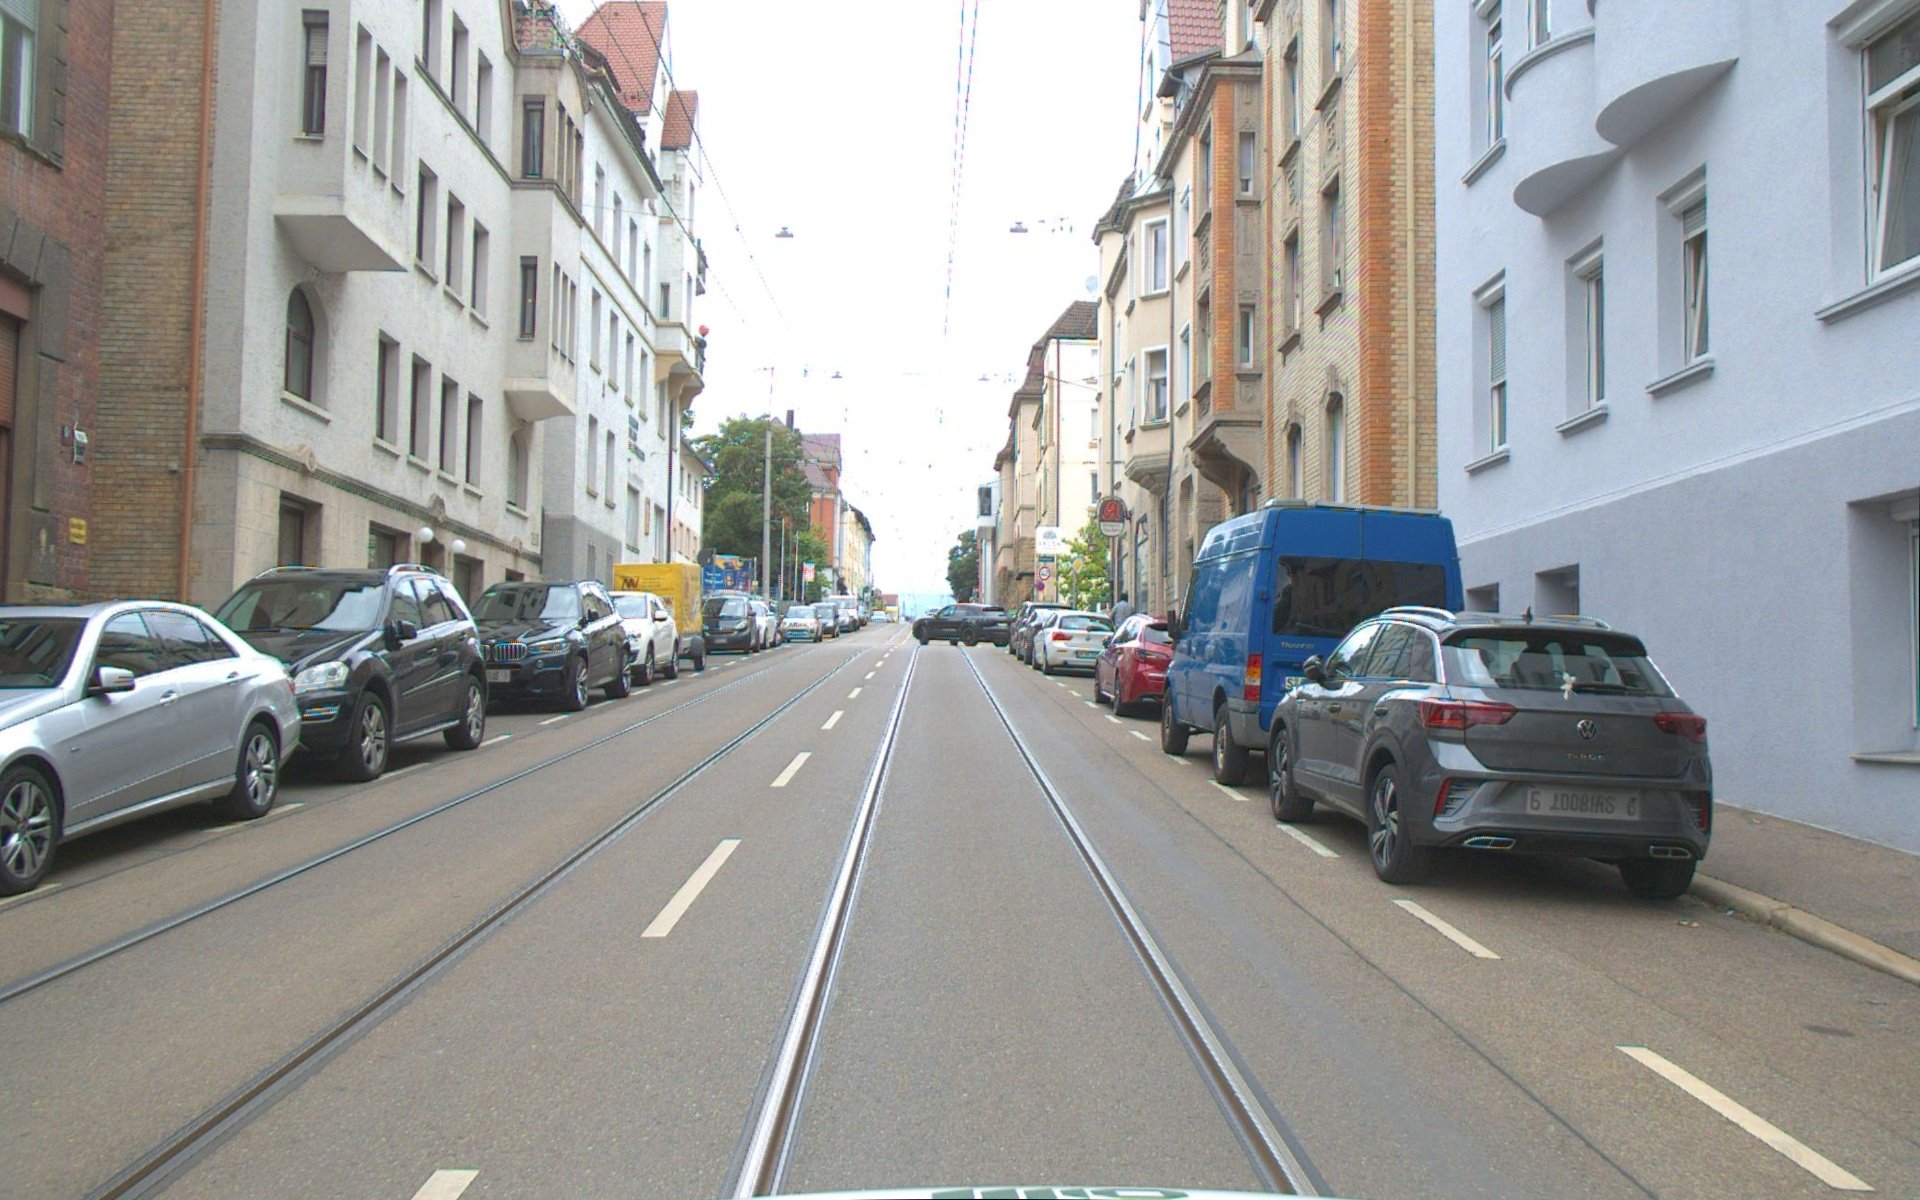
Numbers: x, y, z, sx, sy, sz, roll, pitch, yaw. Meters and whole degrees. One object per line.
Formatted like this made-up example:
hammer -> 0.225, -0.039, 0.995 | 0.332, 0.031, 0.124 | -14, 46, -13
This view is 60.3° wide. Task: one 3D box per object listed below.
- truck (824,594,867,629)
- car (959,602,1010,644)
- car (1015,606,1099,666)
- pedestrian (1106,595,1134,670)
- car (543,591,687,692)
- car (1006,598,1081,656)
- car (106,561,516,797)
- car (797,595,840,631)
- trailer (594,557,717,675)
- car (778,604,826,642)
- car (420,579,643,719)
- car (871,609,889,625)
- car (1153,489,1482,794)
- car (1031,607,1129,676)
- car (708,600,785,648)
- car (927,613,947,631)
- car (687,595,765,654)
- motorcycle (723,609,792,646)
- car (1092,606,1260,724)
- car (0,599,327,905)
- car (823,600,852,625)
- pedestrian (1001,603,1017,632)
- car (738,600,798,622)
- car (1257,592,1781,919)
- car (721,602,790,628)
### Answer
truck -> -7.551, 0.758, 109.469 | 2.233, 2.226, 8.024 | 1, 0, 0
car -> 0.953, 0.888, 66.342 | 1.953, 1.590, 4.289 | 1, 0, -1
car -> 2.522, 0.922, 44.176 | 1.744, 1.415, 4.690 | 3, 0, -2
pedestrian -> 3.934, 0.796, 40.736 | 0.587, 1.834, 0.631 | 1, -1, -1
car -> -6.037, 0.672, 29.403 | 1.662, 1.621, 4.268 | -1, 0, -1
car -> 2.439, 0.776, 49.343 | 1.700, 1.564, 4.571 | 3, 0, -3
car -> -5.605, 0.589, 15.054 | 1.790, 1.748, 4.912 | -1, 0, -1
car -> -7.169, 0.656, 83.980 | 1.708, 1.766, 4.519 | -1, 0, 0
trailer -> -6.103, 0.298, 33.580 | 1.713, 2.193, 4.070 | -1, 0, -1
car -> -6.944, 0.988, 72.983 | 1.662, 1.583, 3.850 | 1, 0, 0
car -> -5.804, 0.596, 23.048 | 1.835, 1.693, 4.891 | -1, 0, -1
car -> -8.548, 1.825, 177.332 | 1.817, 1.635, 4.296 | 1, 0, -1
car -> 3.180, 0.364, 15.854 | 1.953, 2.418, 5.054 | 1, -1, -1
car -> 2.675, 0.903, 37.804 | 1.715, 1.415, 4.305 | 3, 0, -2
car -> -6.438, 0.706, 50.240 | 1.743, 1.381, 4.291 | 1, 0, 0
car -> -2.049, 1.940, 146.411 | 1.638, 1.539, 3.795 | 1, 0, -2
car -> -6.334, 0.646, 45.022 | 1.662, 1.494, 3.023 | -1, 0, -1
motorcycle -> -6.538, 0.882, 53.425 | 2.063, 1.154, 0.767 | -1, 0, 13
car -> 3.088, 0.882, 24.563 | 1.744, 1.501, 4.588 | 3, 0, -1
car -> -5.531, 0.753, 9.684 | 1.790, 1.454, 4.838 | -1, 0, -1
car -> -7.567, 0.782, 102.321 | 1.663, 1.458, 4.479 | -1, 0, -3
pedestrian -> 2.927, 1.044, 98.753 | 0.853, 1.716, 0.663 | -1, -1, -3
car -> -12.715, 0.703, 109.513 | 3.797, 1.381, 1.687 | 1, 0, -2
car -> 3.262, 0.811, 10.606 | 1.744, 1.557, 4.190 | 4, 0, -2
car -> -12.438, 0.915, 100.751 | 3.978, 1.470, 1.687 | 1, 0, -2
